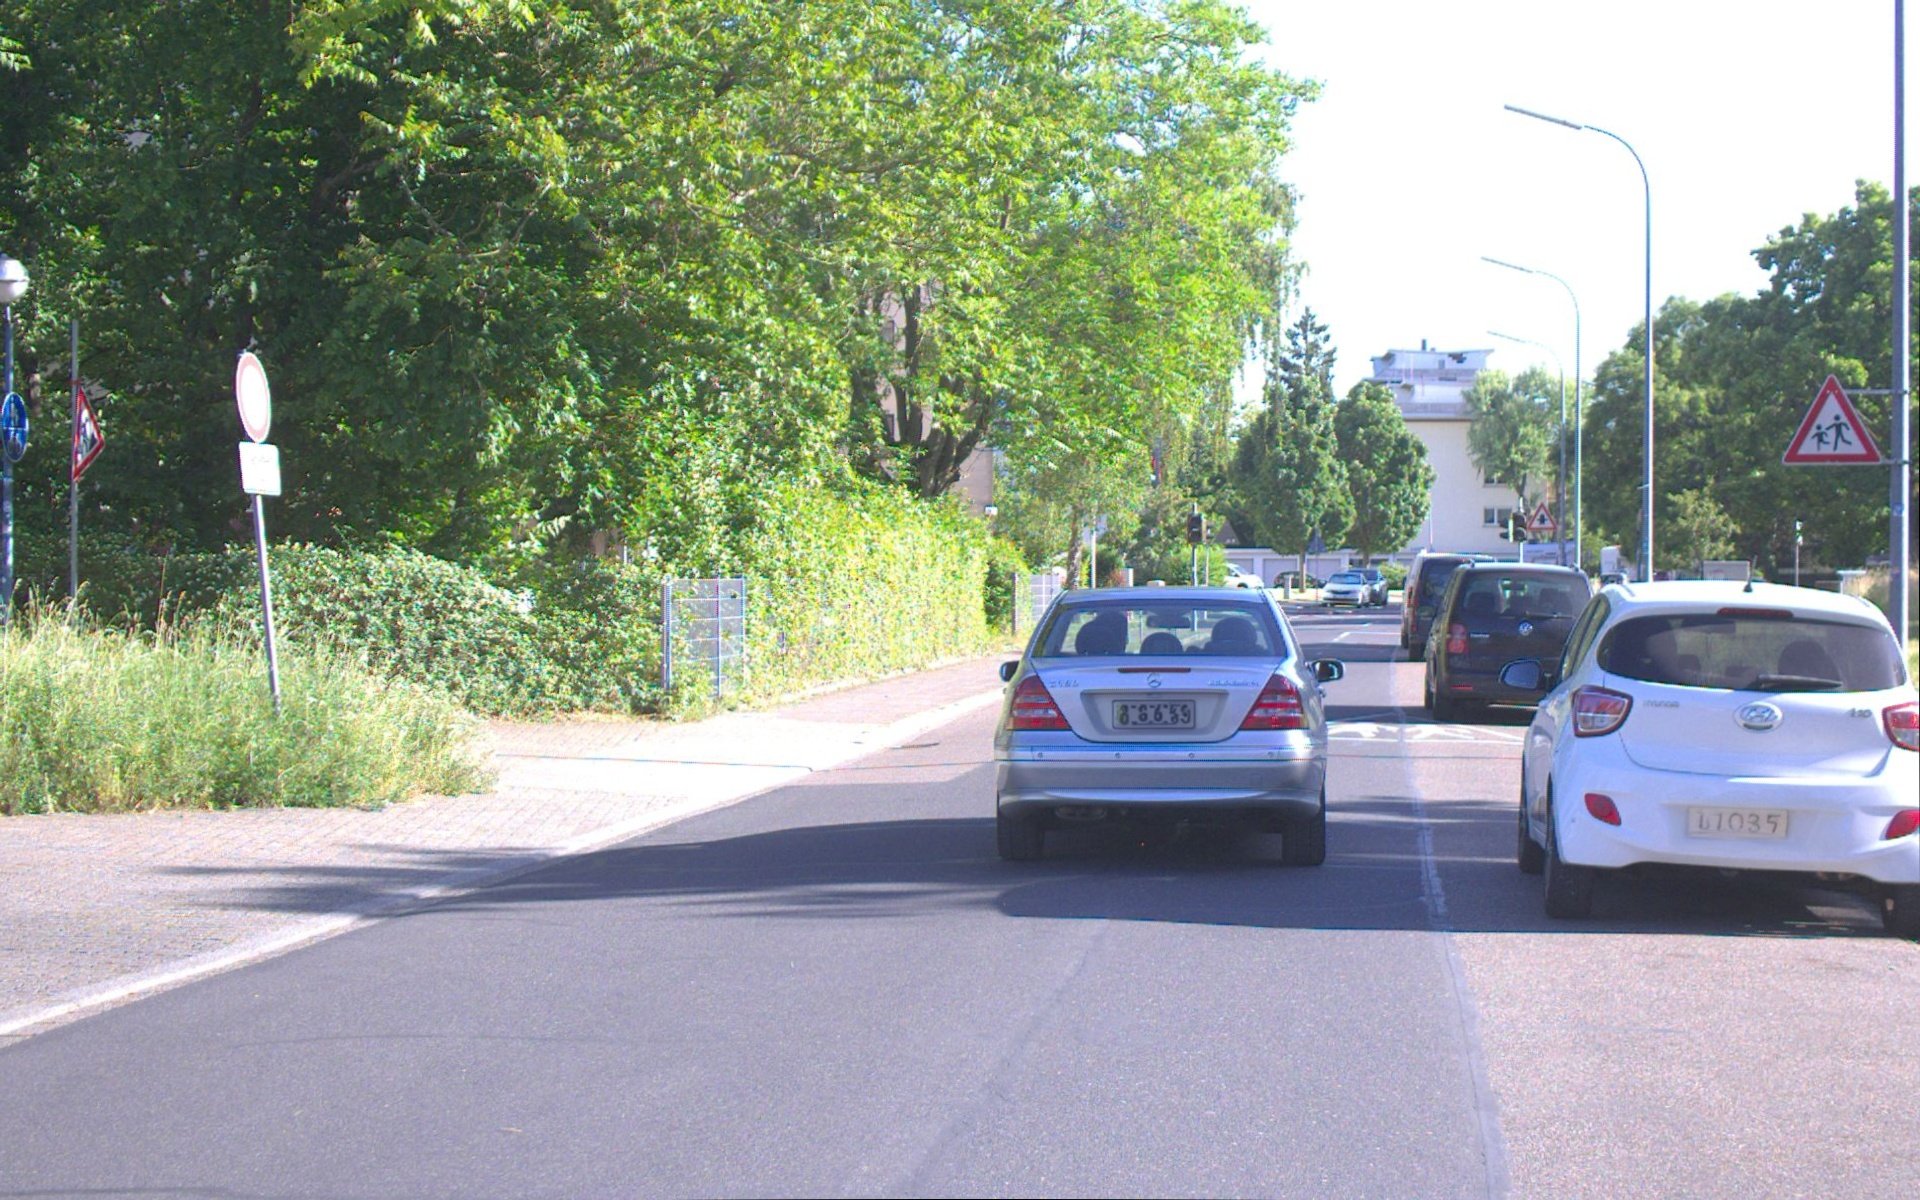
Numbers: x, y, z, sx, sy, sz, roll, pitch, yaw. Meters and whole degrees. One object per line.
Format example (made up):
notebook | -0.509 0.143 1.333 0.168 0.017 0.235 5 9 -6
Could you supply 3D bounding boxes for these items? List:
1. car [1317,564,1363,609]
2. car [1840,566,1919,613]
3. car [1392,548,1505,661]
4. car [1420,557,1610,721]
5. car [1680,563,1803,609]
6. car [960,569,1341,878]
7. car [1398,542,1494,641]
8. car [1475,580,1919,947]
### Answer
car | 15.814 -0.552 142.981 1.885 1.722 3.999 0 -1 6
car | 30.595 -0.329 111.610 3.707 1.466 1.697 0 -2 22
car | 8.183 0.044 57.812 1.699 1.753 3.850 2 1 6
car | 5.794 0.362 36.228 1.699 1.605 3.999 1 1 5
car | 25.740 -0.460 113.180 3.707 1.436 1.697 0 -2 22
car | 1.145 0.593 18.773 1.816 1.458 4.359 1 0 6
car | 9.648 -0.202 68.393 1.699 1.845 3.850 2 1 6
car | 3.475 0.670 16.187 1.722 1.474 3.740 2 0 4
